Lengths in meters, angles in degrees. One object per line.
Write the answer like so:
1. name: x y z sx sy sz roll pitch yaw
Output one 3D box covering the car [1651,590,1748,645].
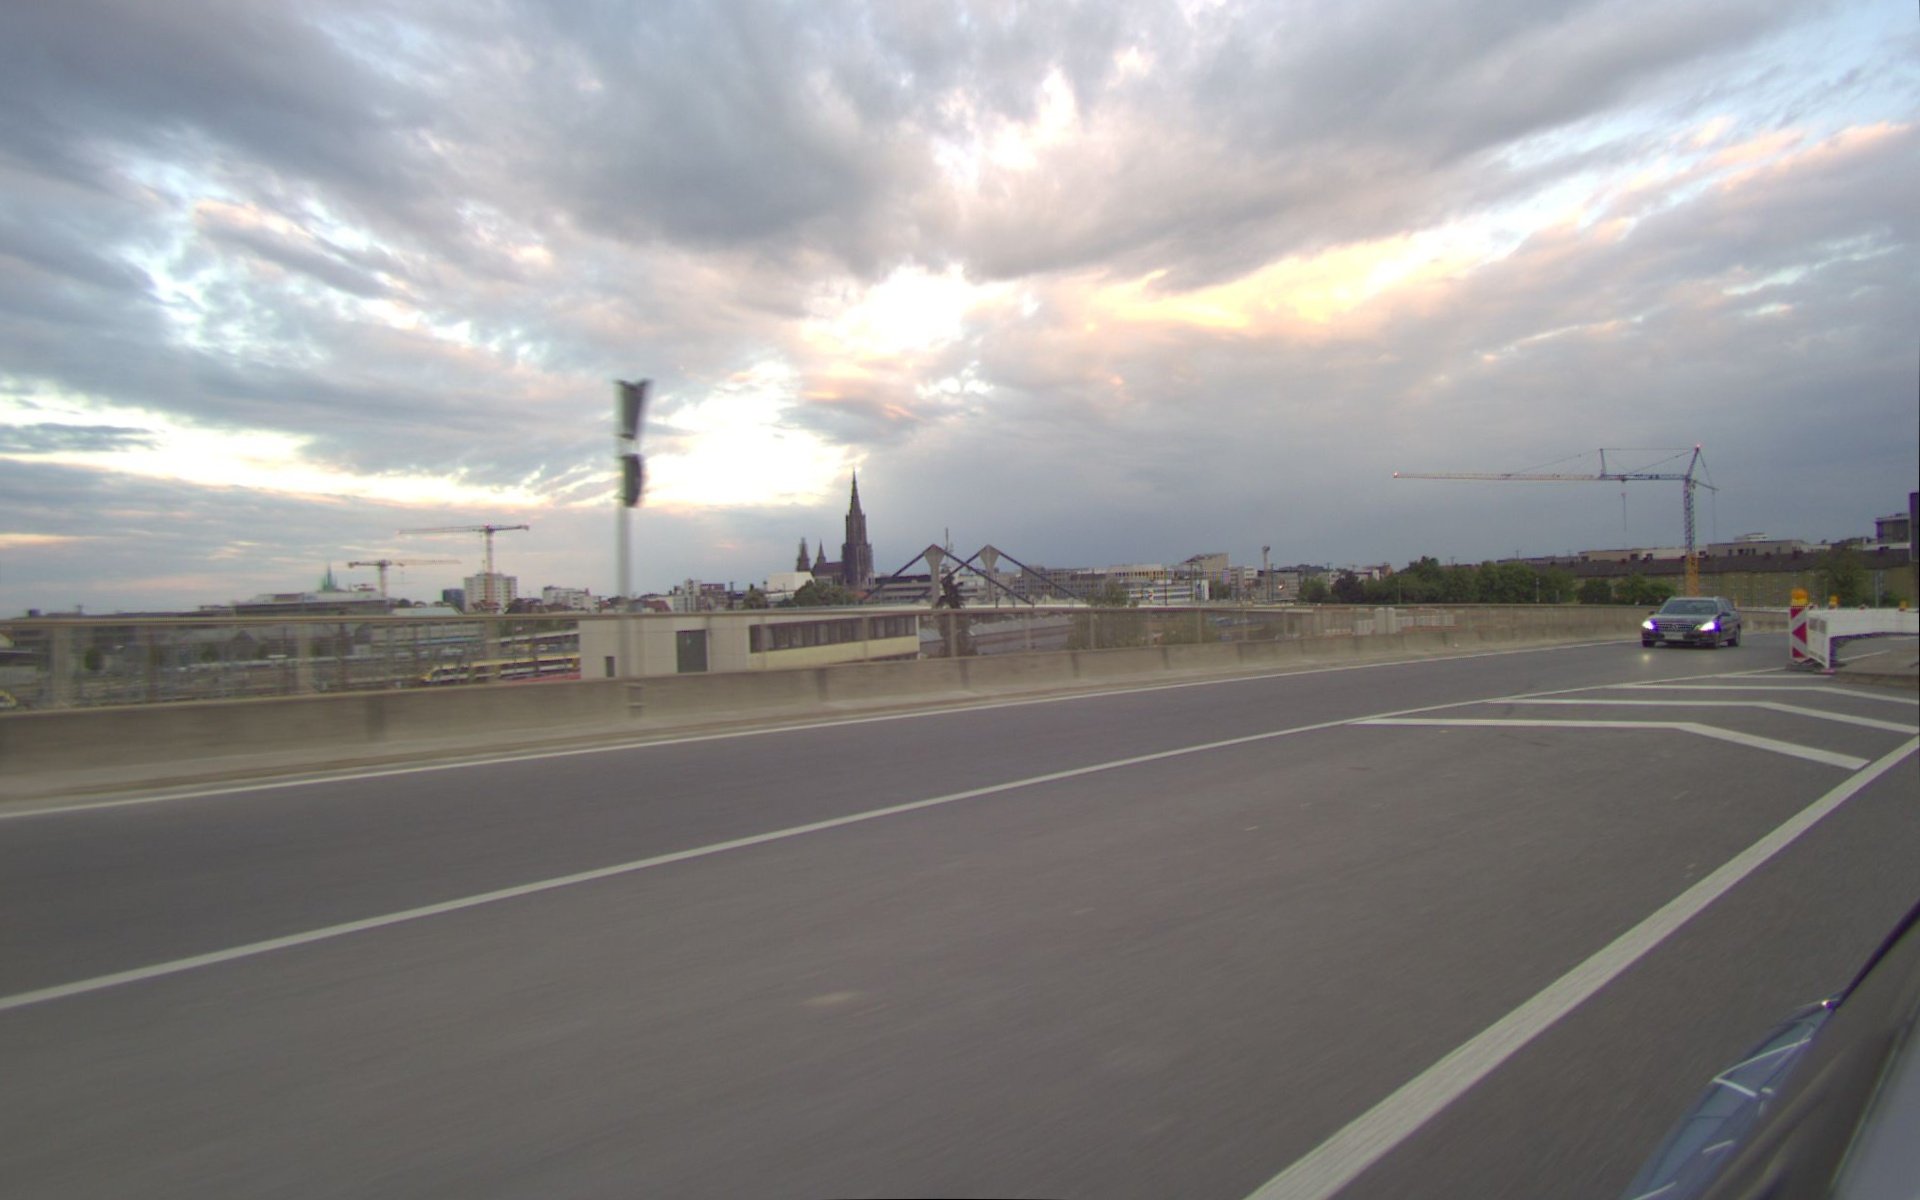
1. car: 22.072 0.480 30.156 3.935 1.510 1.751 0 0 -45
